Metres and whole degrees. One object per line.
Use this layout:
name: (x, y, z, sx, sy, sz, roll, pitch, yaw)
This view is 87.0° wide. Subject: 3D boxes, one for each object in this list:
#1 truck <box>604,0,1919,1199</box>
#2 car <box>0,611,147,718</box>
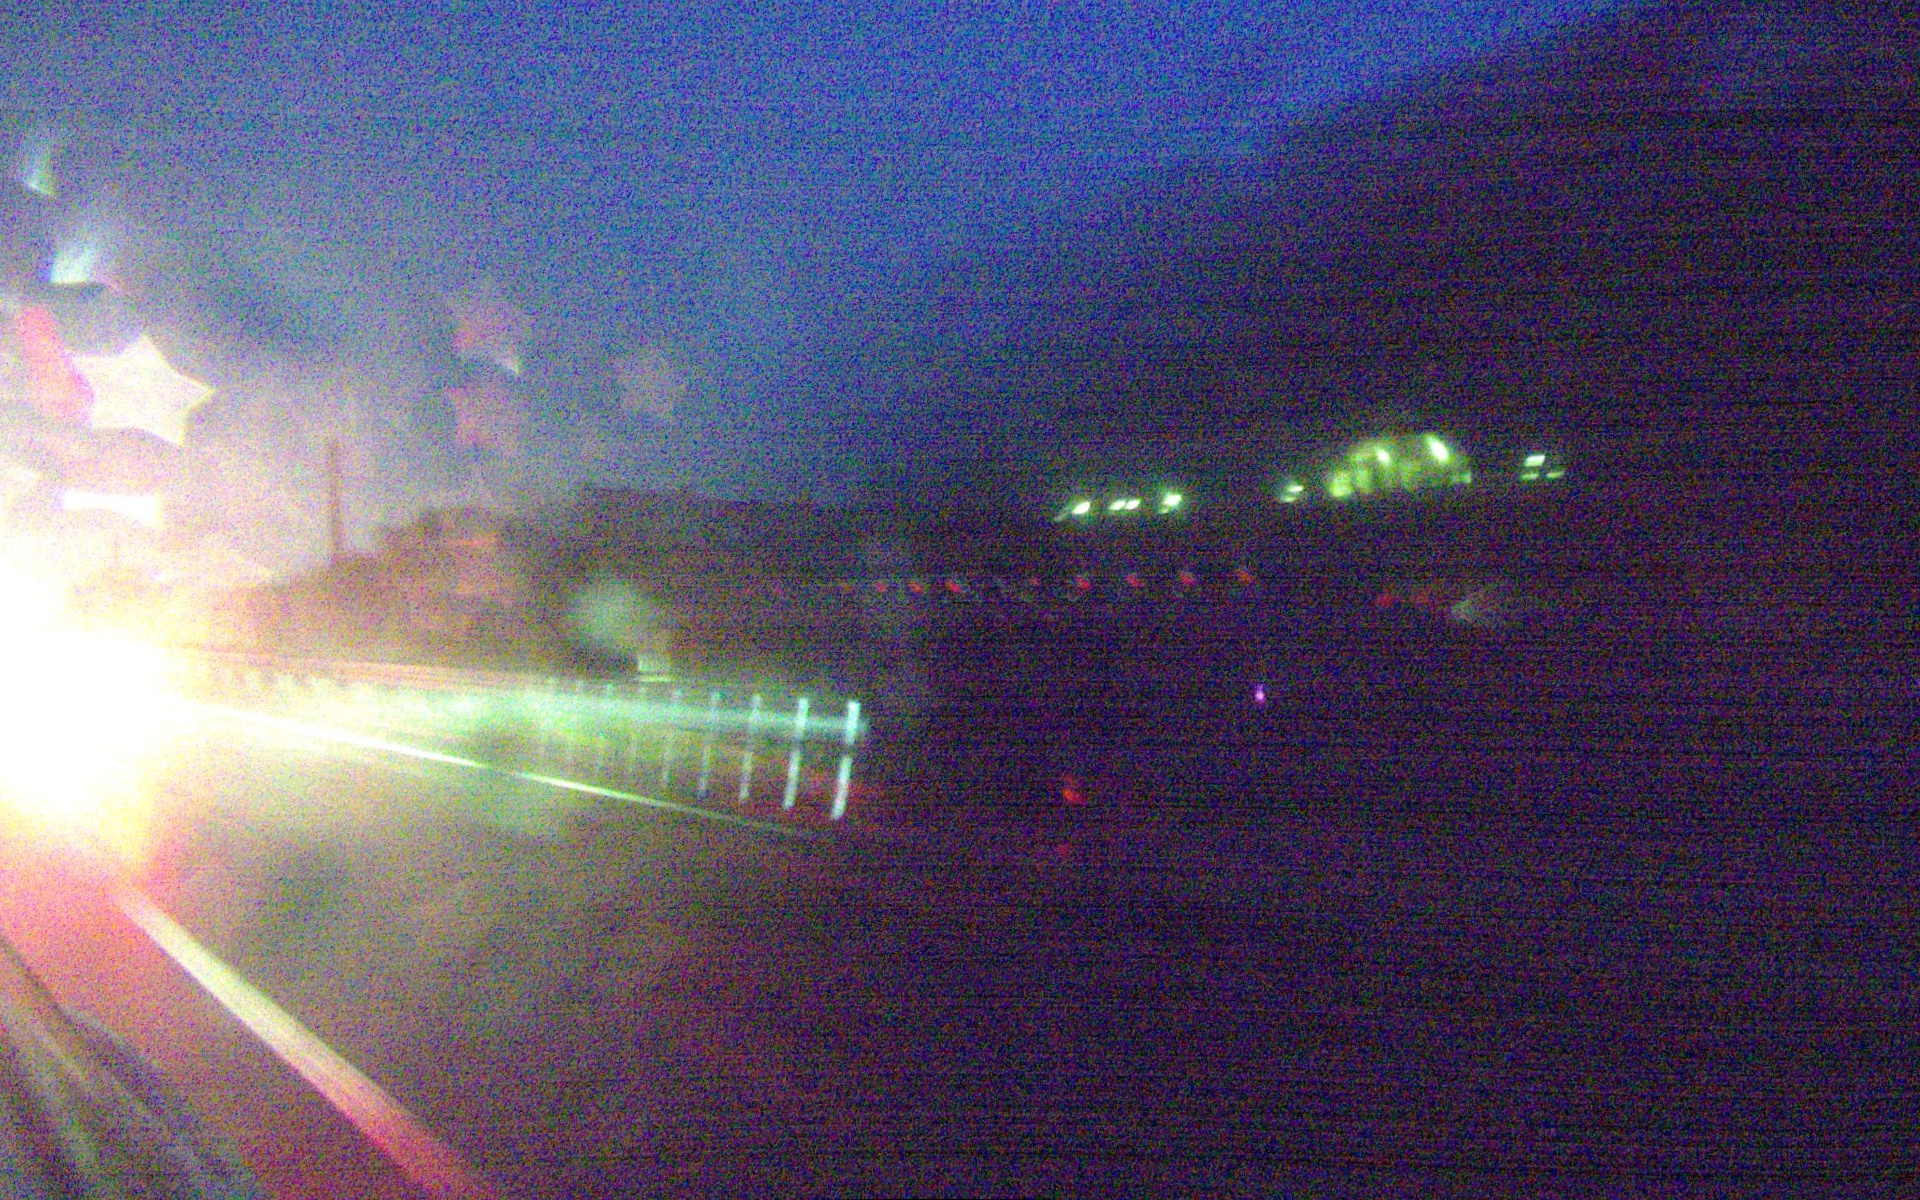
truck: (1.725, 0.126, 1.956, 5.273, 2.554, 2.116, -1, -1, 39)
car: (-15.484, 1.026, 17.293, 4.048, 1.588, 1.865, -2, -1, 42)
